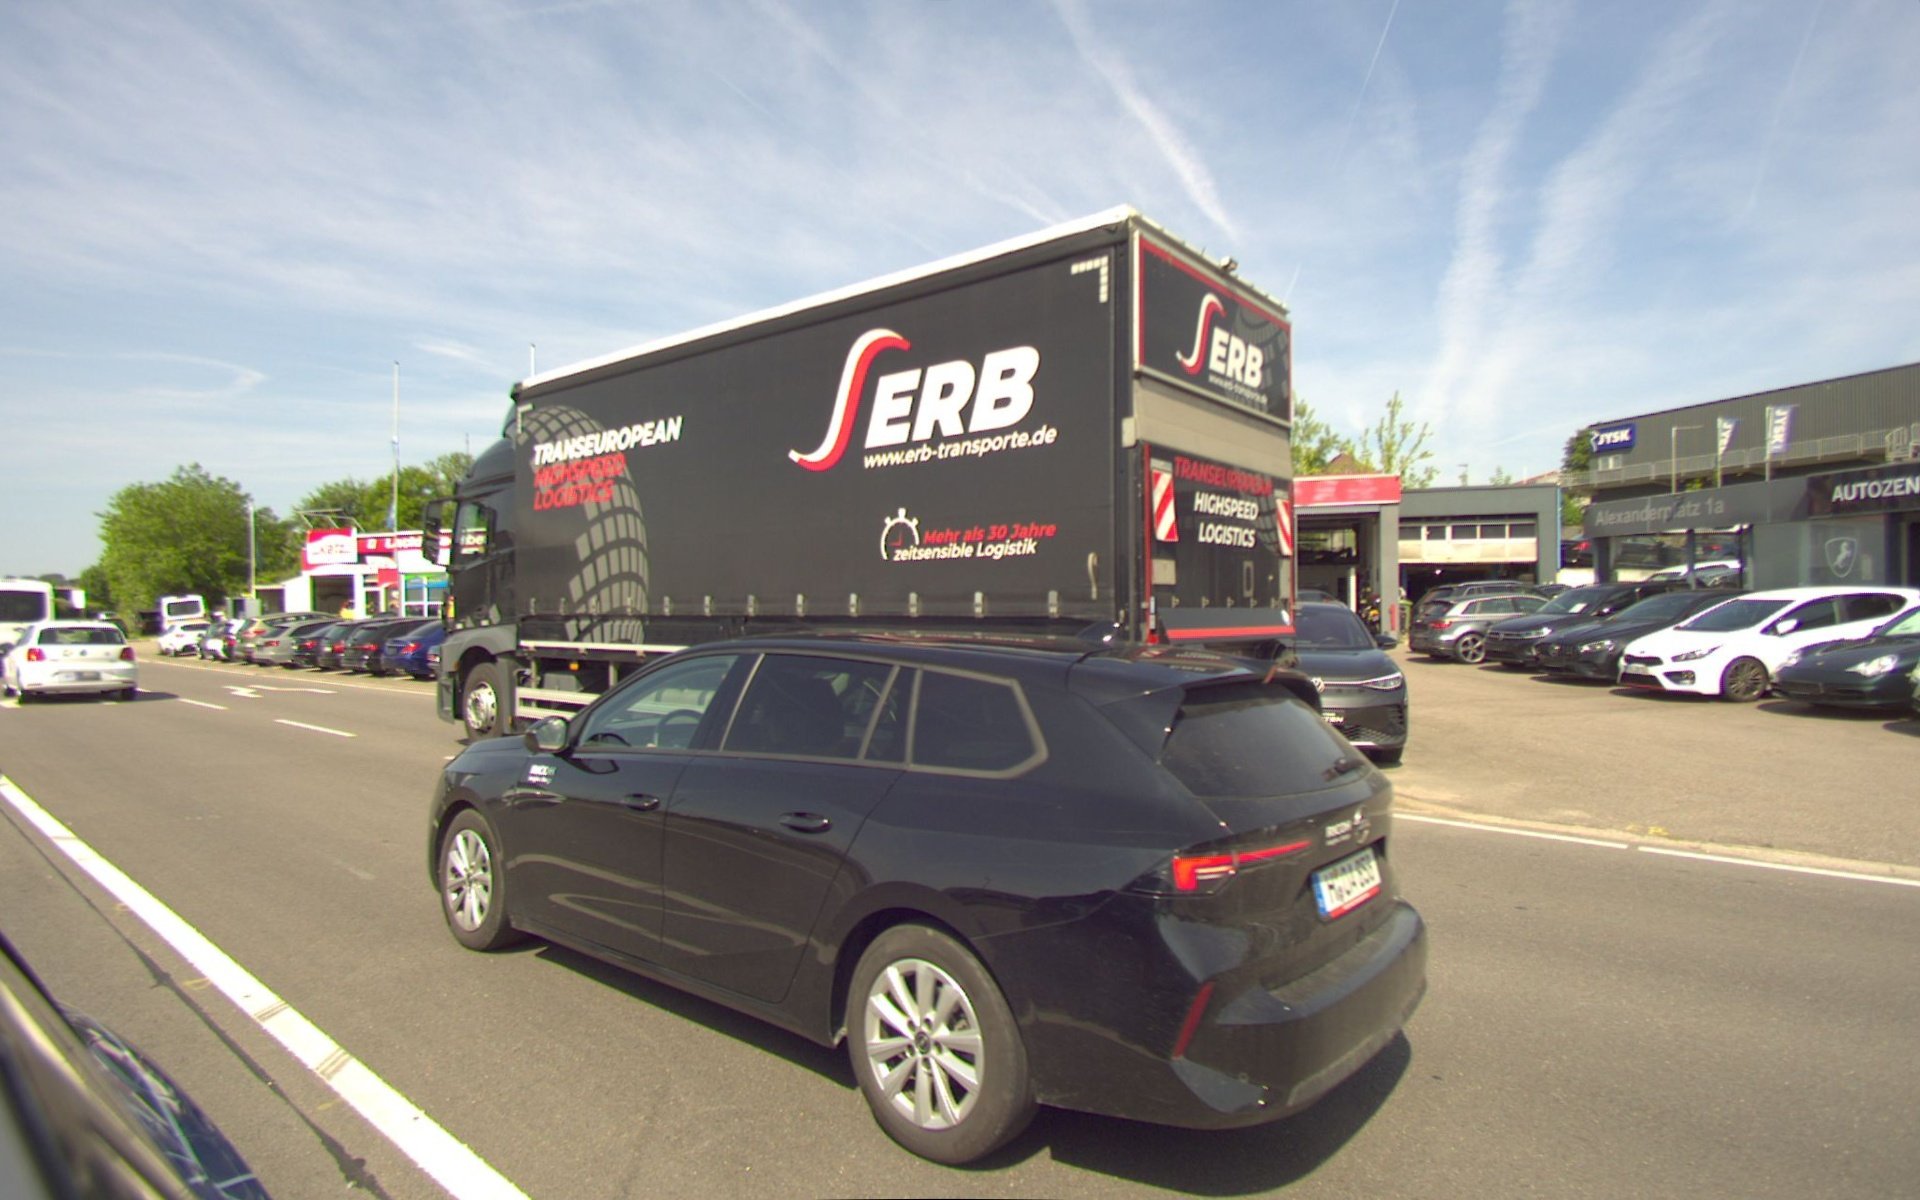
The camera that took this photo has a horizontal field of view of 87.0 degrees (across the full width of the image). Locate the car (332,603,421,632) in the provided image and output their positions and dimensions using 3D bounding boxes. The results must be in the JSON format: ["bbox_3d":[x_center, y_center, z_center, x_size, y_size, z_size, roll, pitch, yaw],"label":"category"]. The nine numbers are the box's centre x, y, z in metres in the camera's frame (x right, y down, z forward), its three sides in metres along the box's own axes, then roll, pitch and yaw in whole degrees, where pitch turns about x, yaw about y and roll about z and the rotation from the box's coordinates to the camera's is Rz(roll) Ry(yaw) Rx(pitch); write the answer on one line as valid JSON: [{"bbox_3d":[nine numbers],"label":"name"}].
[{"bbox_3d":[-35.346,1.062,61.479,1.863,1.666,4.502,-1,0,22],"label":"car"}]

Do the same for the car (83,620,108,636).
[{"bbox_3d":[-100.972,3.291,118.189,2.024,1.837,4.514,2,-3,-41],"label":"car"}]

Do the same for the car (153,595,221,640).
[{"bbox_3d":[-46.363,1.047,60.871,2.399,2.563,6.060,-1,0,-29],"label":"car"}]

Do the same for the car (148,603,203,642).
[{"bbox_3d":[-53.933,1.523,69.558,2.405,2.563,5.343,-1,0,-44],"label":"car"}]

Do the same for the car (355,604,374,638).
[{"bbox_3d":[-33.582,1.177,57.067,0.868,1.849,0.847,0,-1,-36],"label":"car"}]

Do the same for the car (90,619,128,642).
[{"bbox_3d":[-57.745,2.055,68.643,1.801,1.538,4.464,2,-3,-42],"label":"car"}]

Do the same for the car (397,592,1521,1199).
[{"bbox_3d":[-0.413,0.772,4.005,4.375,1.454,1.694,-1,-3,40],"label":"car"}]

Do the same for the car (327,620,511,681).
[{"bbox_3d":[-14.397,1.277,27.069,1.945,1.463,3.945,-1,-1,41],"label":"car"}]

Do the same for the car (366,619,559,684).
[{"bbox_3d":[-12.372,1.225,25.341,1.905,1.465,3.945,-1,-1,41],"label":"car"}]

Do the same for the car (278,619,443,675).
[{"bbox_3d":[-17.810,1.349,30.184,1.756,1.493,3.943,-1,-1,43],"label":"car"}]

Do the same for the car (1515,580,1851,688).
[{"bbox_3d":[11.932,0.536,16.892,4.281,1.535,1.817,-2,0,-2],"label":"car"}]

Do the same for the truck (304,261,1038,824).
[{"bbox_3d":[-4.006,-0.340,11.414,9.963,4.028,2.685,-1,-1,39],"label":"truck"}]

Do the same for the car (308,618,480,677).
[{"bbox_3d":[-15.871,1.285,28.492,1.949,1.511,3.826,-1,-1,43],"label":"car"}]

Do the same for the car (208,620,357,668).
[{"bbox_3d":[-23.624,1.483,35.403,1.998,1.537,3.947,-1,-1,39],"label":"car"}]

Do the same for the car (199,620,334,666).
[{"bbox_3d":[-25.553,1.526,37.357,1.940,1.562,3.750,-1,-1,39],"label":"car"}]

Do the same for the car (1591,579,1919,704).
[{"bbox_3d":[11.685,0.548,14.526,4.082,1.535,1.829,-2,0,-2],"label":"car"}]

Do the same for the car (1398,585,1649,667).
[{"bbox_3d":[12.031,0.535,21.824,4.284,1.535,1.893,-2,0,0],"label":"car"}]

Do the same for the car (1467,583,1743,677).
[{"bbox_3d":[12.138,0.537,19.224,4.038,1.535,1.812,-2,0,-2],"label":"car"}]

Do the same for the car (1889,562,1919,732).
[{"bbox_3d":[12.181,0.406,9.930,4.404,1.762,1.894,-2,0,-2],"label":"car"}]

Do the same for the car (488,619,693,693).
[{"bbox_3d":[-8.111,1.169,22.440,1.827,1.442,3.896,-1,-1,42],"label":"car"}]

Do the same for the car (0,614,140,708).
[{"bbox_3d":[-16.827,1.082,18.961,3.999,1.567,1.635,-1,-3,42],"label":"car"}]

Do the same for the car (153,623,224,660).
[{"bbox_3d":[-33.216,1.749,43.517,4.000,1.425,1.742,-1,2,43],"label":"car"}]

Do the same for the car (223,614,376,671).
[{"bbox_3d":[-21.885,1.352,33.638,1.871,1.740,3.944,-1,-1,42],"label":"car"}]

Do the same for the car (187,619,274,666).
[{"bbox_3d":[-28.225,1.600,39.122,4.001,1.567,1.972,-1,3,44],"label":"car"}]

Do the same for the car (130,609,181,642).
[{"bbox_3d":[-58.361,1.821,73.370,2.405,2.281,5.343,-1,0,-44],"label":"car"}]

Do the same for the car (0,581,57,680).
[{"bbox_3d":[-27.184,0.832,28.320,7.111,2.529,2.037,-1,-1,42],"label":"car"}]

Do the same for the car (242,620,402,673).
[{"bbox_3d":[-20.009,1.419,31.861,1.737,1.504,3.925,-1,-1,38],"label":"car"}]

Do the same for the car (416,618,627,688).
[{"bbox_3d":[-10.250,1.176,23.878,1.873,1.479,4.202,-1,-1,42],"label":"car"}]

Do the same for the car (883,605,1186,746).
[{"bbox_3d":[1.106,0.853,13.324,2.030,1.542,3.993,-1,-1,40],"label":"car"}]

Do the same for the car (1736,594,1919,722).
[{"bbox_3d":[12.220,0.606,12.264,4.281,1.338,1.764,-2,0,-2],"label":"car"}]
